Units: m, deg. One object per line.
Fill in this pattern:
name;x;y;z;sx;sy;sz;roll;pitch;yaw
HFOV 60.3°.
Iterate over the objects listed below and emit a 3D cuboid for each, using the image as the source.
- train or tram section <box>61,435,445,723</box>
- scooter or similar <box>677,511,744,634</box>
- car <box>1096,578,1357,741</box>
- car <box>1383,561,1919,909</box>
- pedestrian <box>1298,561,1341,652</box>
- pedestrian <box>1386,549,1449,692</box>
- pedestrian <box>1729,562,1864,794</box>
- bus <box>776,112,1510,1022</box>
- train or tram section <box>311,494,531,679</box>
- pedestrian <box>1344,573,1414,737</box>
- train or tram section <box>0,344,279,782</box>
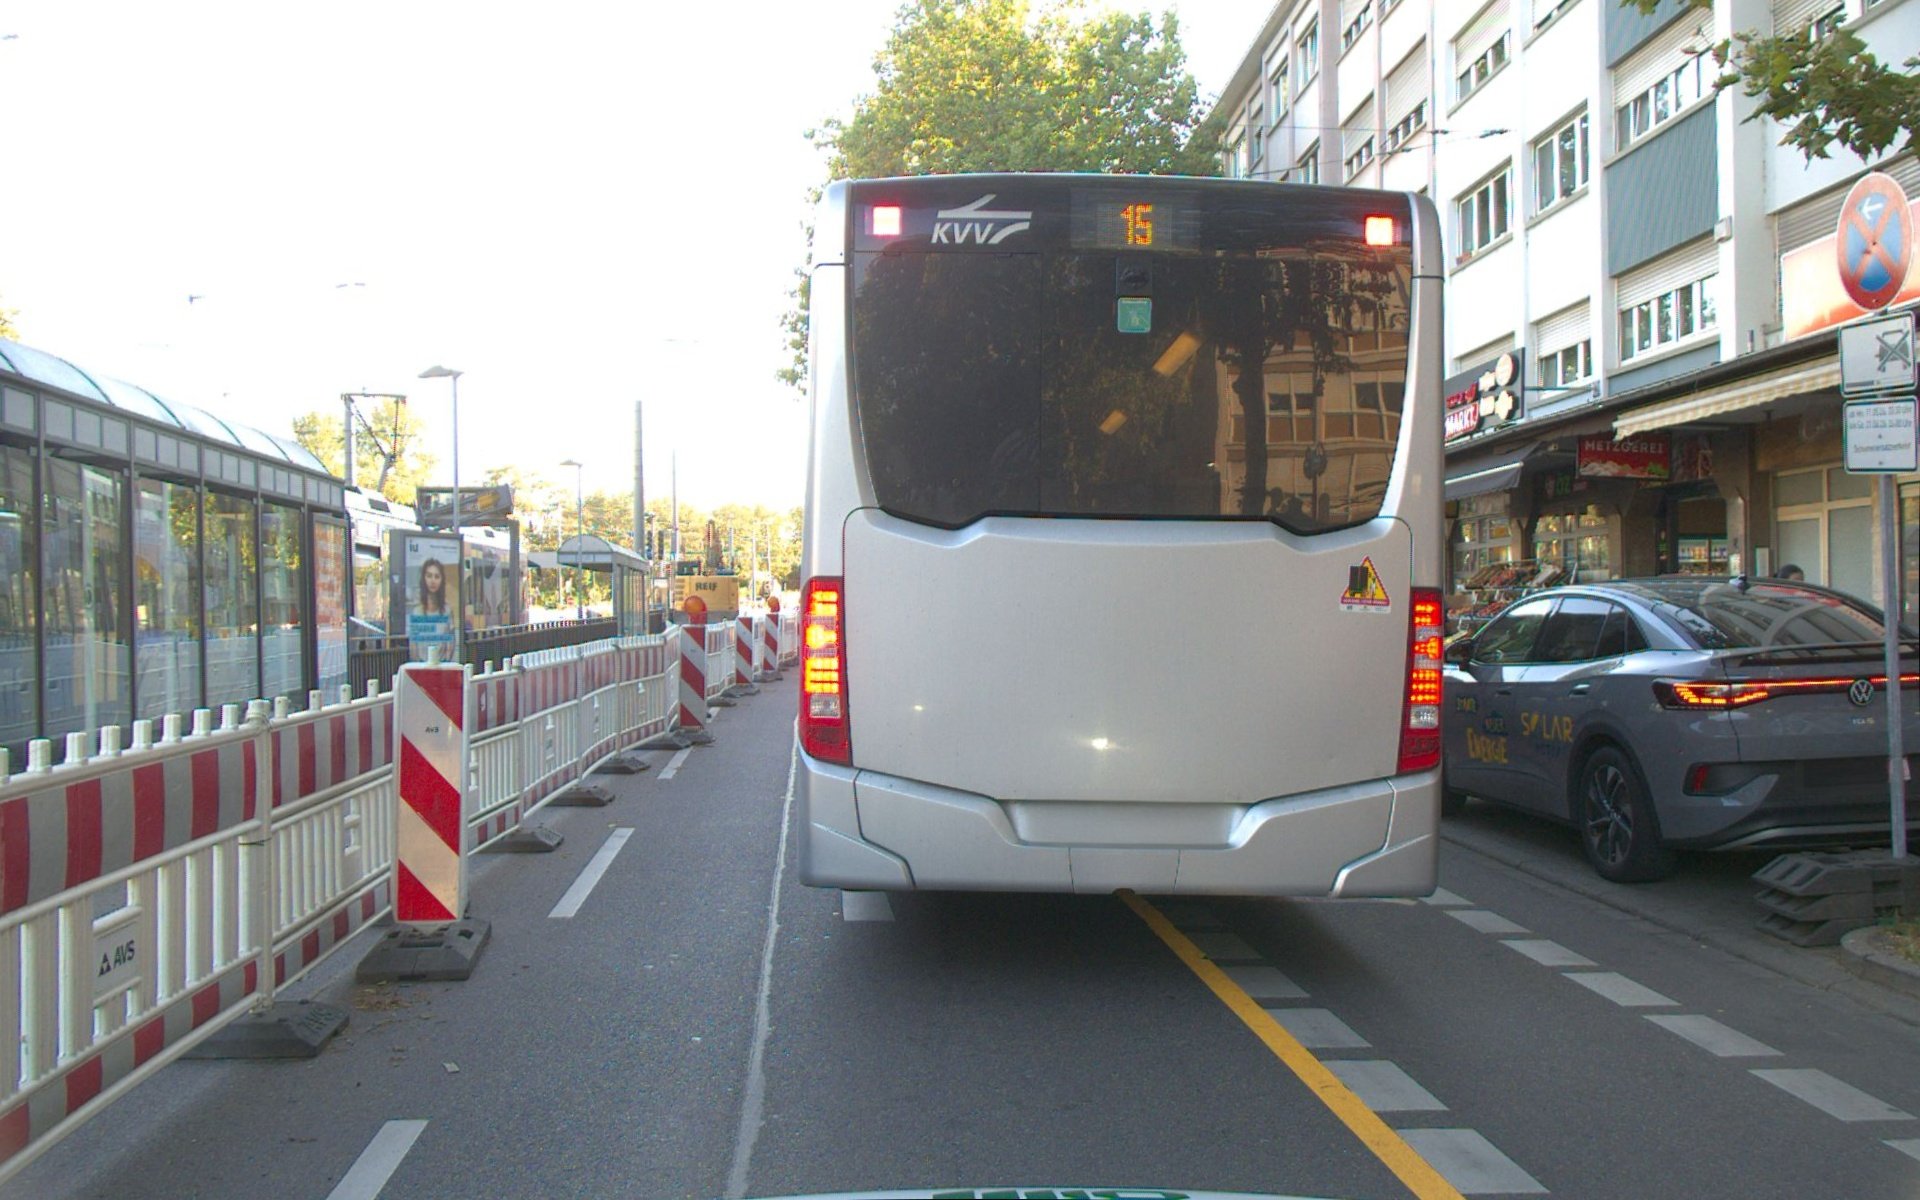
train or tram section;-10.716;-0.258;26.680;2.636;3.621;11.562;-1;0;-8
scooter or similar;-9.694;-1.020;64.554;2.422;4.549;5.962;0;0;-8
car;2.974;0.603;19.464;1.955;1.609;4.363;-3;1;-5
car;4.347;0.624;10.226;1.955;1.609;4.363;-3;1;-5
pedestrian;7.481;0.133;34.419;0.672;1.869;0.785;-1;0;-4
pedestrian;6.713;0.296;24.292;0.672;2.049;0.786;-1;0;-1
pedestrian;6.250;0.564;12.391;0.570;1.675;0.796;-1;0;-3
bus;0.604;-0.105;9.883;2.558;3.181;7.991;1;0;-1
train or tram section;-12.029;-0.250;38.084;2.635;3.594;11.563;-1;0;-7
pedestrian;4.465;0.579;17.607;0.649;1.696;0.601;-2;-1;15
train or tram section;-9.336;-0.285;14.934;2.635;3.595;11.755;-1;0;-6
